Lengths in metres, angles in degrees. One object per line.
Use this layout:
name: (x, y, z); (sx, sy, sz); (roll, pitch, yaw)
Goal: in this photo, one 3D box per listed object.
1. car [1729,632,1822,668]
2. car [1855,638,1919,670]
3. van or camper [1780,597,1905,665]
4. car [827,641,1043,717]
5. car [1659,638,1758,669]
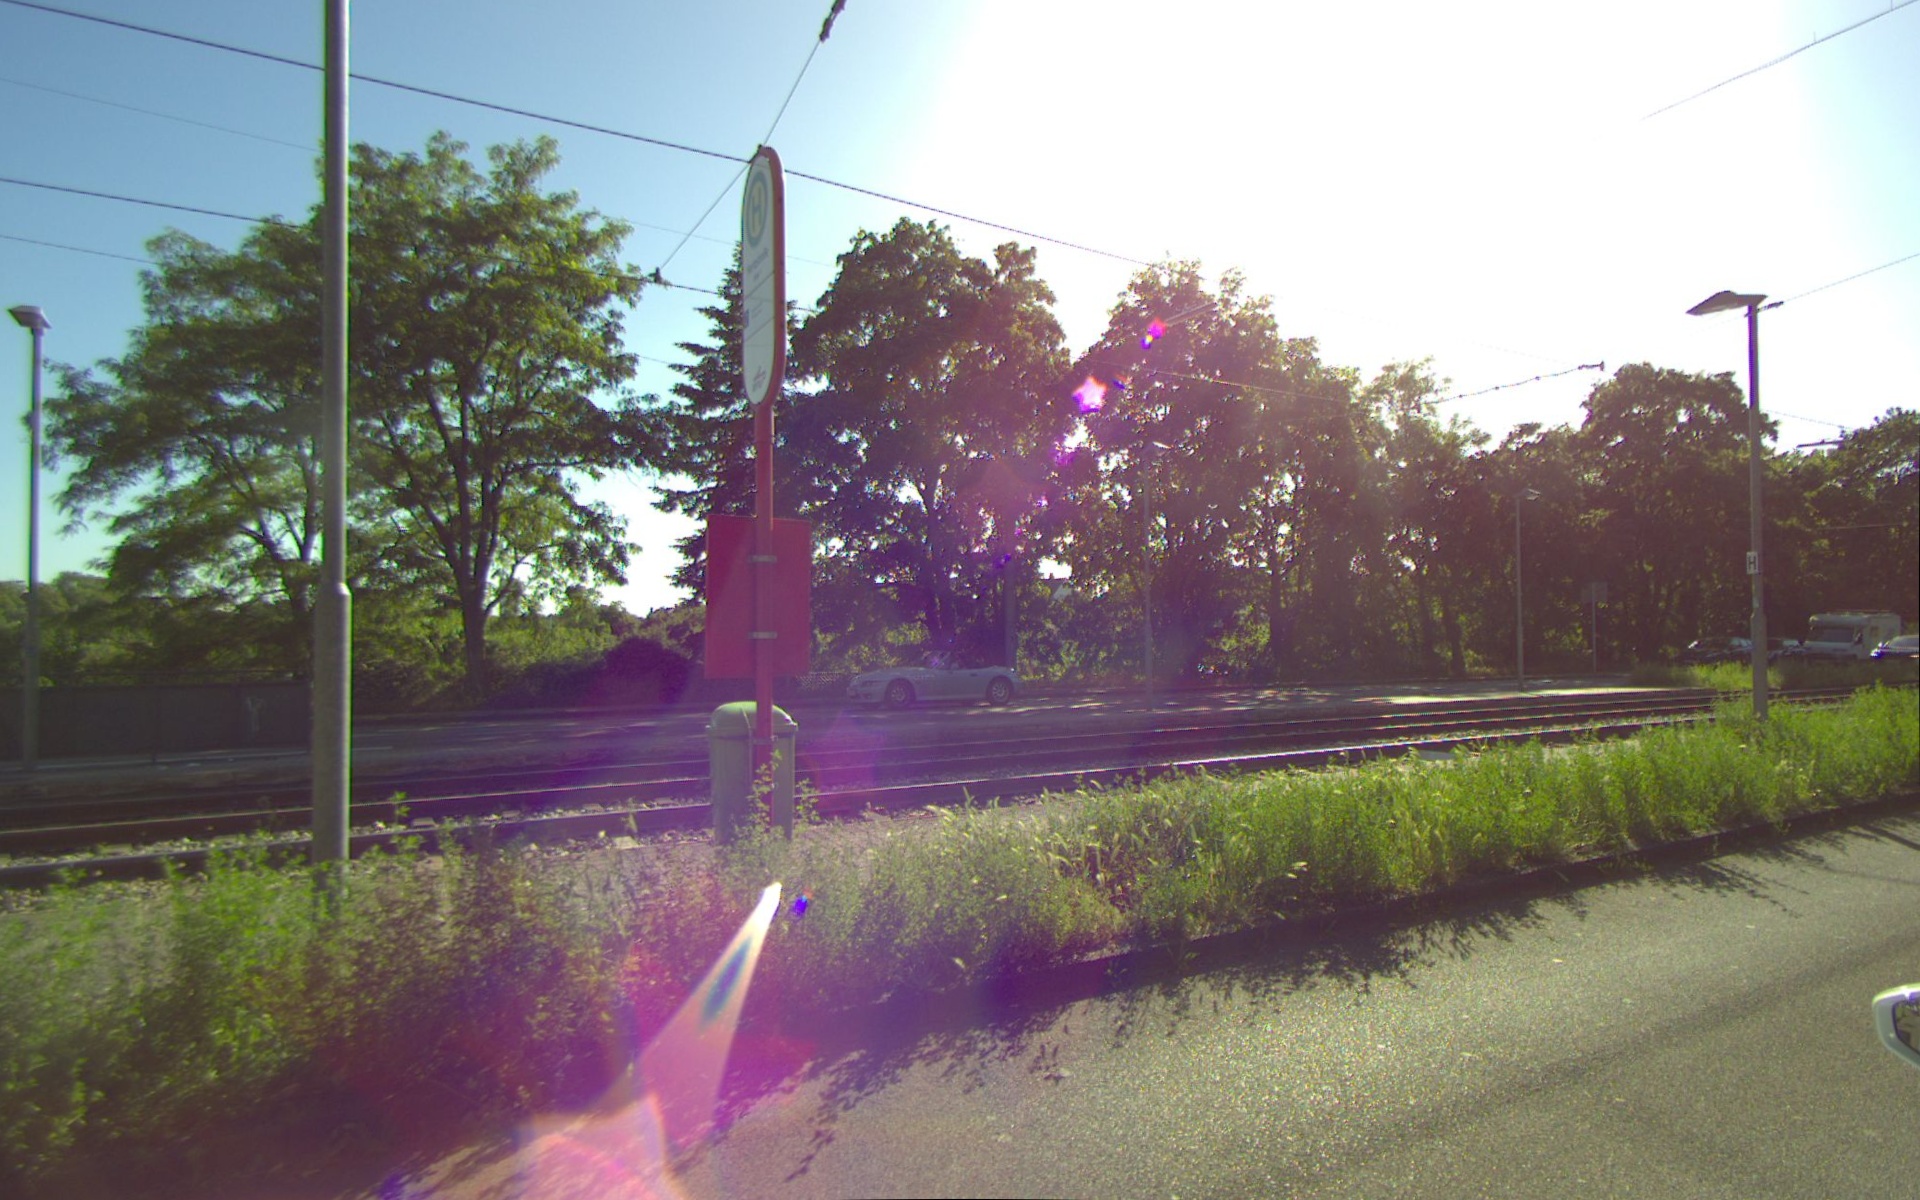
car: (37.326, 2.260, 45.965); (3.950, 1.582, 1.913); (1, -2, -28)
car: (39.409, 2.223, 41.874); (3.951, 1.283, 1.913); (1, -2, -29)
van or camper: (43.392, 1.540, 49.368); (6.708, 3.147, 2.578); (1, -2, -30)
car: (-0.525, 1.650, 21.989); (4.323, 1.489, 1.985); (1, -2, -29)
car: (32.275, 2.284, 43.305); (3.950, 1.283, 1.913); (1, -2, -28)
